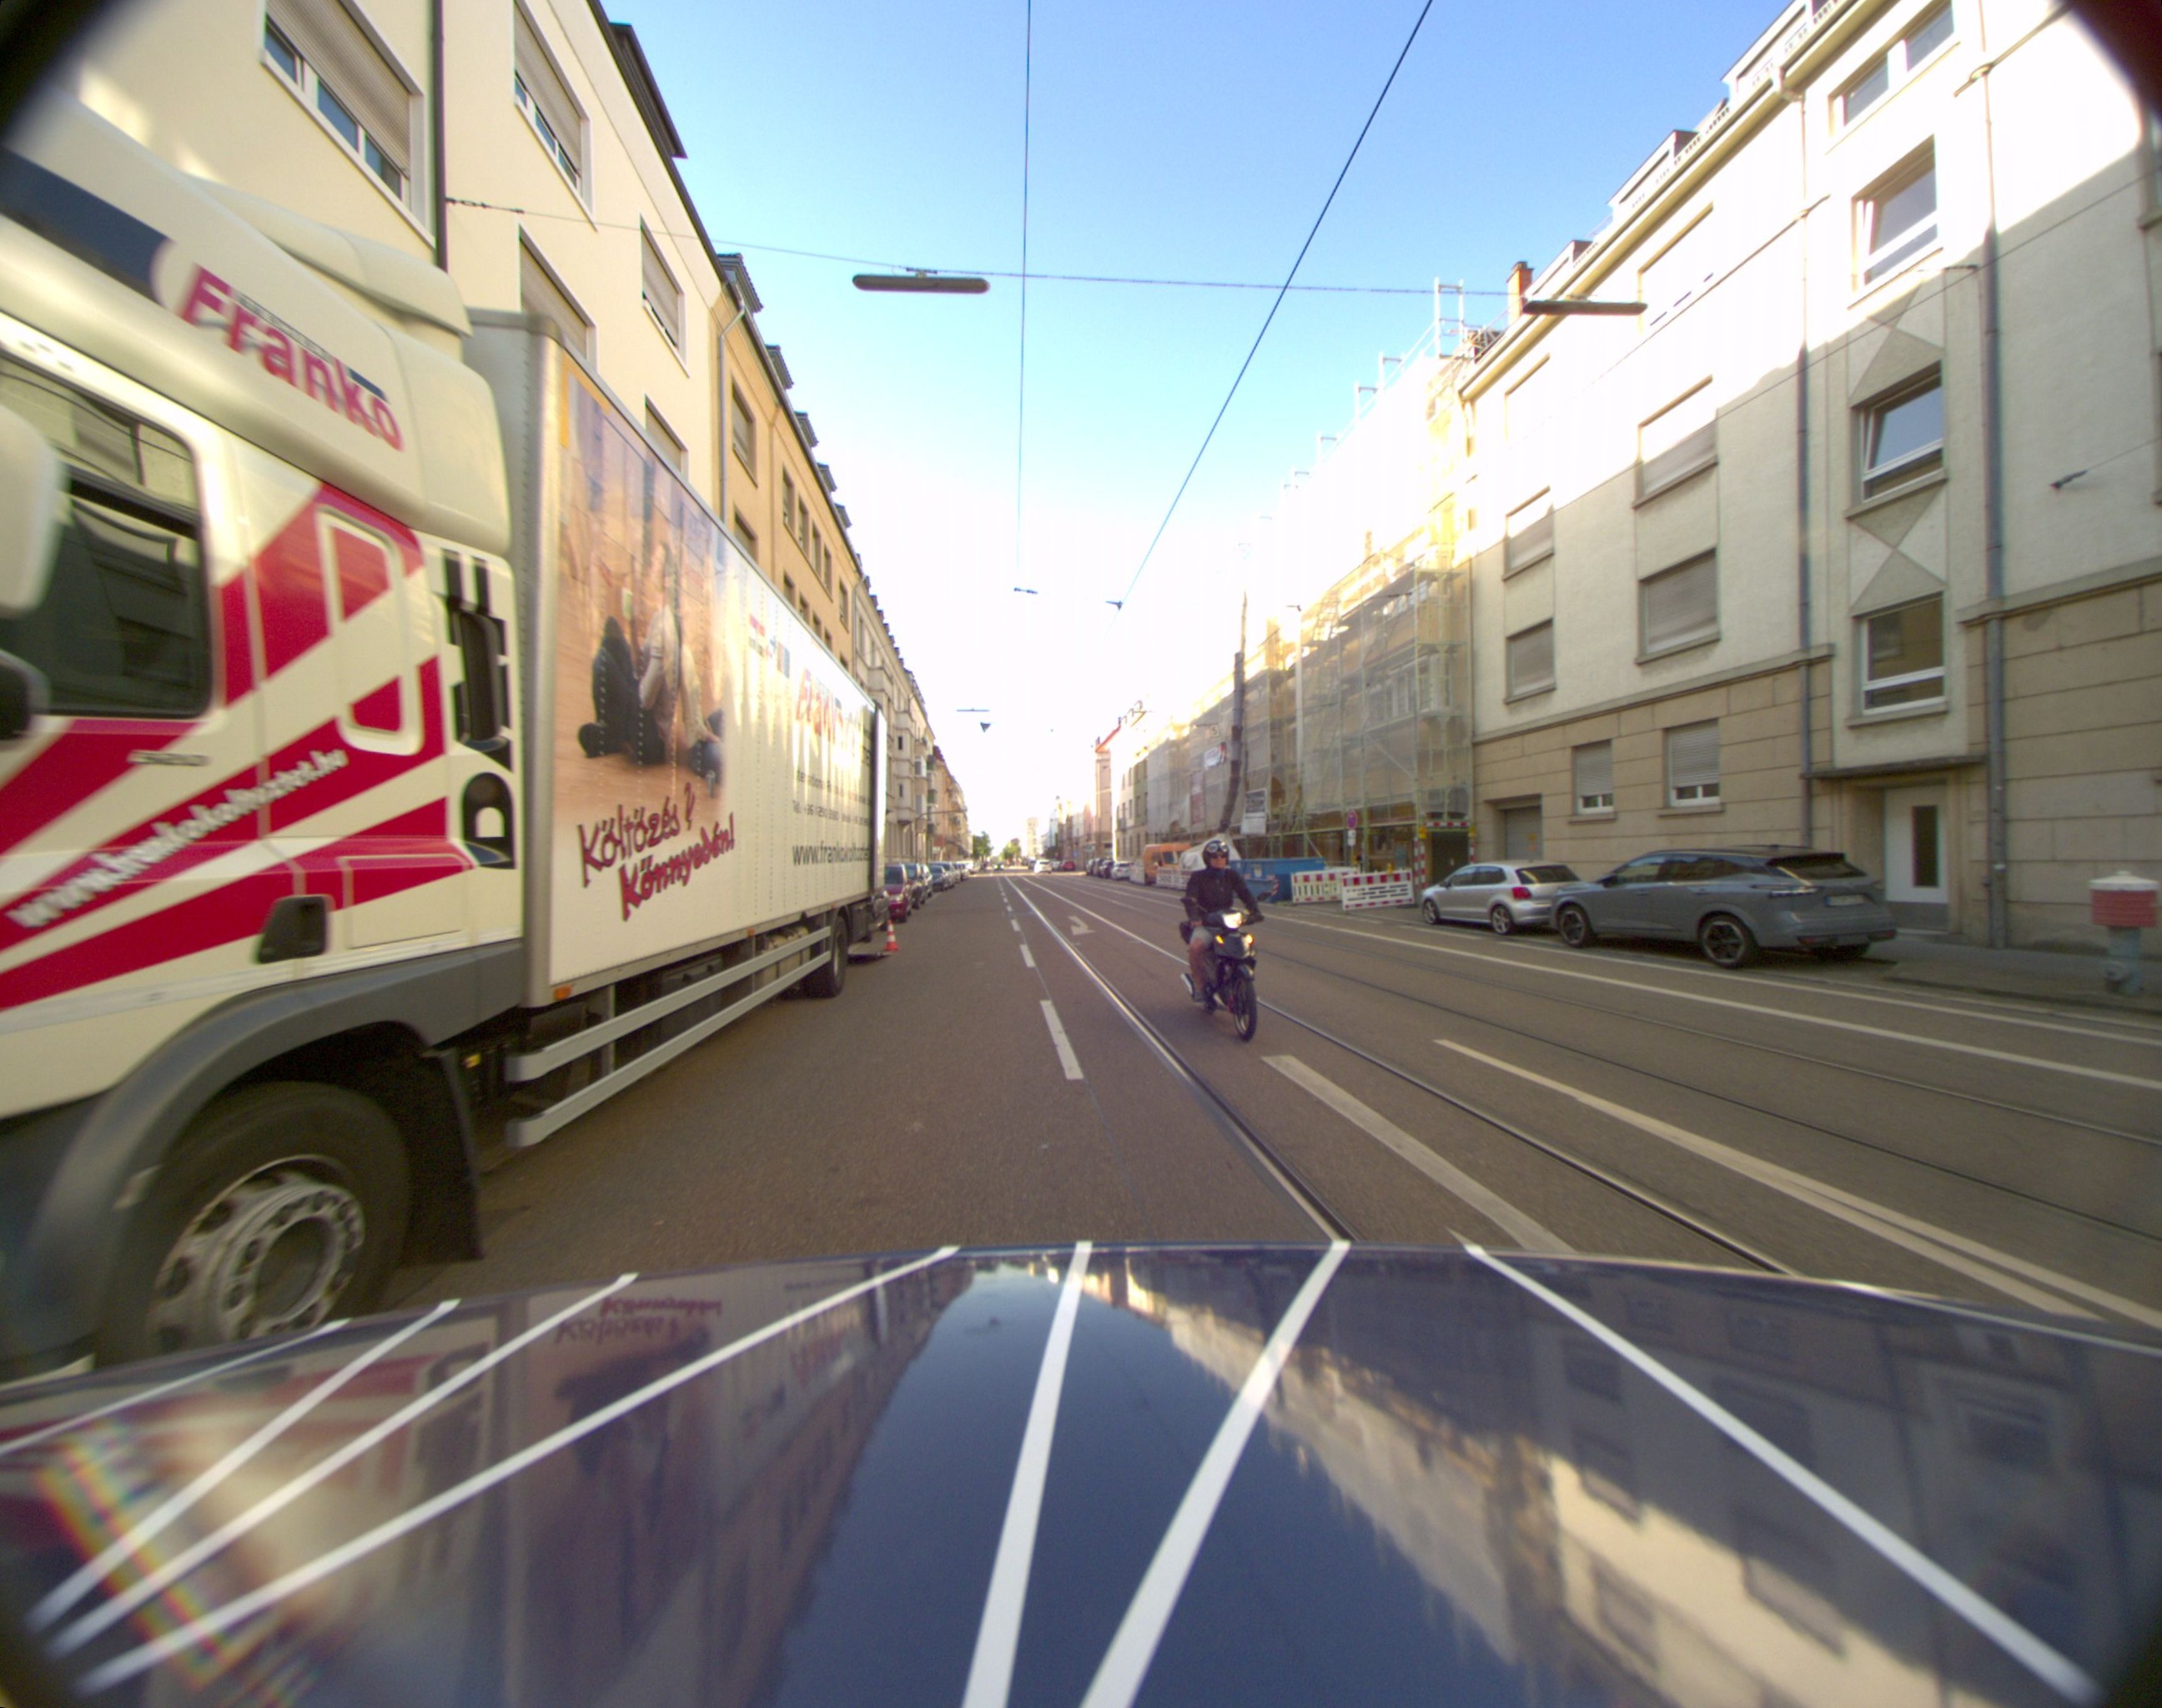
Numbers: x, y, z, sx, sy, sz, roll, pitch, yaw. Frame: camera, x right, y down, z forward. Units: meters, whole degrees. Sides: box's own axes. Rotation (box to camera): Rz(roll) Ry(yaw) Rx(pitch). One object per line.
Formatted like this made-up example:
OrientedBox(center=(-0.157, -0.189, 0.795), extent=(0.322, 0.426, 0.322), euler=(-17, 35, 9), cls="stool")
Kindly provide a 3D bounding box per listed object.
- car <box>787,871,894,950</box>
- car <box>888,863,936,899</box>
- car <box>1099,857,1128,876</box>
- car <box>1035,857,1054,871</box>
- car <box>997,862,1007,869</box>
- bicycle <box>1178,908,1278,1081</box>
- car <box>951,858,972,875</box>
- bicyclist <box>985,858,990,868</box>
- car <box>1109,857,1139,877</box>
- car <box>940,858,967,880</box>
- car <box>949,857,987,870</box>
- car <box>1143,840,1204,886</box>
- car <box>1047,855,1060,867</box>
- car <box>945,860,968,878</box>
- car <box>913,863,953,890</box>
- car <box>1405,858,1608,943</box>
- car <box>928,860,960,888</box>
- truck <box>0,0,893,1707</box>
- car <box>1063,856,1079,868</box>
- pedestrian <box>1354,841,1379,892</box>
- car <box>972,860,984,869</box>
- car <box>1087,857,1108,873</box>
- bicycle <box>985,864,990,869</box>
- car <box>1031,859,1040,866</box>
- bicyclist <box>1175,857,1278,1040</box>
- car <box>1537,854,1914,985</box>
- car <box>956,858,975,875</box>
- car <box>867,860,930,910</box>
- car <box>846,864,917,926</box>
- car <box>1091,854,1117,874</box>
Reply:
OrientedBox(center=(-5.175, 1.148, 16.814), extent=(1.587, 1.455, 3.878), euler=(0, 0, -7), cls="car")
OrientedBox(center=(-7.262, 1.121, 32.890), extent=(1.613, 1.454, 3.478), euler=(0, 0, -6), cls="car")
OrientedBox(center=(2.824, 1.070, 66.933), extent=(1.703, 1.569, 4.220), euler=(-3, 0, -7), cls="car")
OrientedBox(center=(-4.425, 1.200, 91.595), extent=(1.826, 1.559, 4.198), euler=(-3, 0, -8), cls="car")
OrientedBox(center=(-15.855, 2.259, 152.345), extent=(1.860, 1.369, 3.999), euler=(-1, 0, -4), cls="car")
OrientedBox(center=(1.267, 1.133, 6.761), extent=(0.740, 1.170, 1.975), euler=(-1, 0, 9), cls="bicycle")
OrientedBox(center=(-11.187, 1.142, 71.161), extent=(1.704, 1.581, 3.958), euler=(-1, 0, -6), cls="car")
OrientedBox(center=(-14.474, 1.430, 117.582), extent=(0.744, 1.481, 0.815), euler=(-1, 0, -7), cls="bicyclist")
OrientedBox(center=(3.396, 1.027, 60.994), extent=(1.752, 1.502, 3.998), euler=(0, 0, -6), cls="car")
OrientedBox(center=(-10.126, 1.146, 60.432), extent=(1.703, 1.688, 4.186), euler=(0, 0, -4), cls="car")
OrientedBox(center=(-13.744, 1.150, 92.327), extent=(4.284, 1.598, 1.775), euler=(0, 0, 19), cls="car")
OrientedBox(center=(5.148, 0.482, 43.197), extent=(2.126, 2.454, 5.997), euler=(0, 0, -6), cls="car")
OrientedBox(center=(-5.010, 1.250, 138.522), extent=(2.000, 2.002, 3.998), euler=(0, 0, -7), cls="car")
OrientedBox(center=(-10.759, 1.301, 66.061), extent=(1.704, 1.496, 3.861), euler=(-1, 0, -6), cls="car")
OrientedBox(center=(-8.168, 1.216, 42.299), extent=(1.704, 1.443, 4.204), euler=(0, 0, -5), cls="car")
OrientedBox(center=(8.791, 0.865, 16.129), extent=(1.704, 1.407, 3.997), euler=(-4, 1, -6), cls="car")
OrientedBox(center=(-8.657, 1.203, 48.427), extent=(1.714, 1.683, 4.587), euler=(0, 0, -7), cls="car")
OrientedBox(center=(-3.877, -0.239, 6.337), extent=(2.869, 4.049, 11.772), euler=(-1, 0, -6), cls="truck")
OrientedBox(center=(-1.491, 1.125, 108.201), extent=(1.799, 1.494, 3.767), euler=(-3, 0, -7), cls="car")
OrientedBox(center=(9.656, 0.429, 25.743), extent=(0.715, 1.684, 0.583), euler=(-2, 1, 18), cls="pedestrian")
OrientedBox(center=(-17.781, 1.794, 131.389), extent=(2.000, 1.630, 3.998), euler=(0, 0, -6), cls="car")
OrientedBox(center=(1.650, 1.083, 77.827), extent=(1.799, 1.601, 3.768), euler=(-1, 0, -4), cls="car")
OrientedBox(center=(-14.478, 1.934, 117.528), extent=(0.744, 0.850, 1.885), euler=(-1, 0, -7), cls="bicycle")
OrientedBox(center=(-10.764, 2.014, 180.759), extent=(1.799, 1.494, 3.767), euler=(-3, 0, -7), cls="car")
OrientedBox(center=(1.307, 0.808, 6.908), extent=(0.843, 1.545, 0.850), euler=(-1, 0, 9), cls="bicyclist")
OrientedBox(center=(9.274, 0.810, 11.544), extent=(1.704, 1.558, 4.403), euler=(-1, 0, -6), cls="car")
OrientedBox(center=(-11.778, 1.283, 77.765), extent=(1.704, 1.581, 3.353), euler=(2, 0, -5), cls="car")
OrientedBox(center=(-6.597, 1.065, 27.841), extent=(1.795, 1.642, 4.363), euler=(0, 0, -8), cls="car")
OrientedBox(center=(-5.771, 1.119, 22.355), extent=(1.597, 1.599, 4.243), euler=(0, 0, -9), cls="car")
OrientedBox(center=(2.180, 0.940, 72.856), extent=(1.799, 1.836, 3.767), euler=(-3, 0, -7), cls="car")
